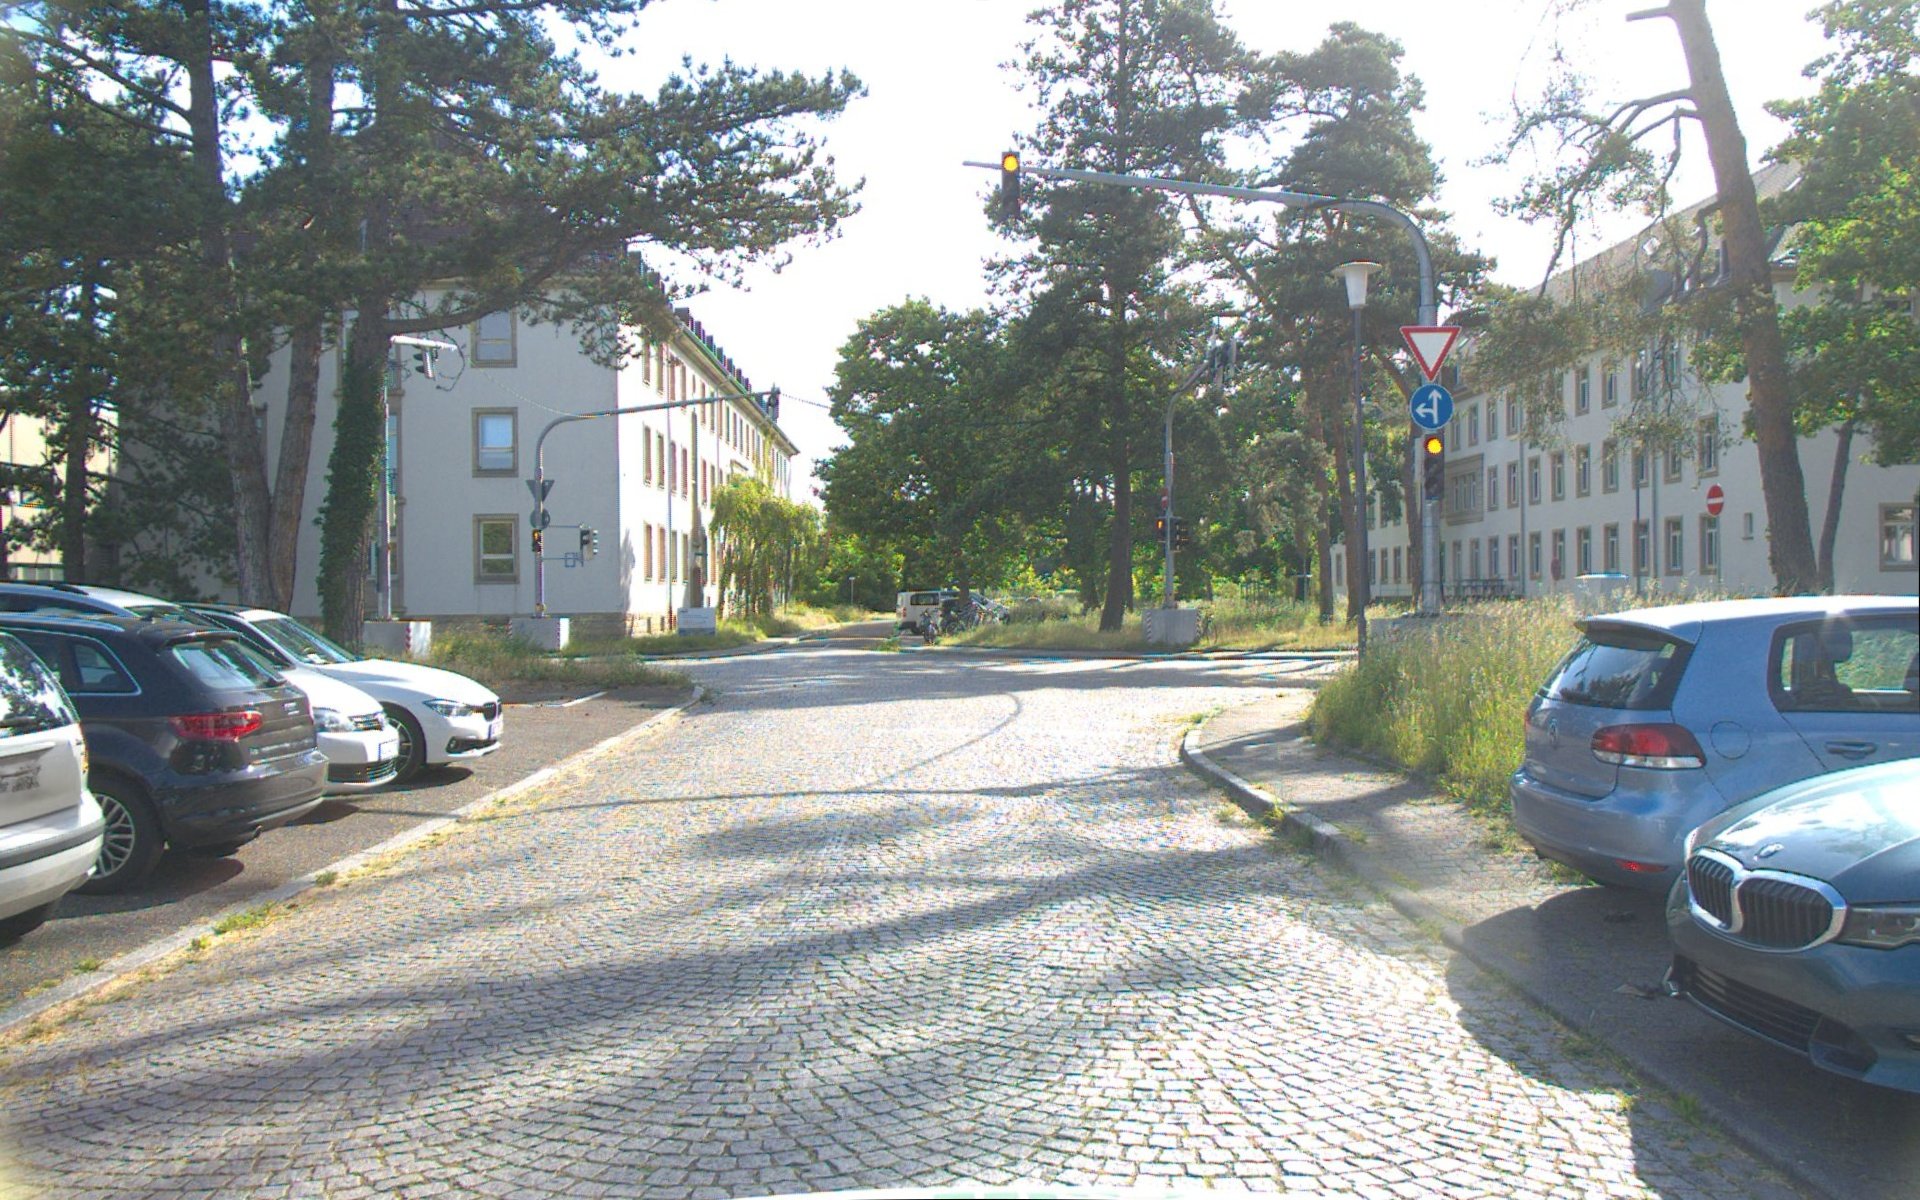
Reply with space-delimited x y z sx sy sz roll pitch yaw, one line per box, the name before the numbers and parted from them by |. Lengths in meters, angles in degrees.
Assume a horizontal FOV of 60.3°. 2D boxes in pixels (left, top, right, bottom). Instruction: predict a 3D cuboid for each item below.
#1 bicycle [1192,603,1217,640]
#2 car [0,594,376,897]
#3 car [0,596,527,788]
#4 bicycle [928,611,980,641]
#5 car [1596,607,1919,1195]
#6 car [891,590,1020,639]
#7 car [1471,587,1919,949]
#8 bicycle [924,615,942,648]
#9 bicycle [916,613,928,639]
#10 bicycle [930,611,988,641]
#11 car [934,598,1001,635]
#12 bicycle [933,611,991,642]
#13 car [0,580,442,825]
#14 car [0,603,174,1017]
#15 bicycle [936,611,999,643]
bicycle | 6.604 0.587 44.680 0.294 0.977 1.584 1 -1 -4
car | -5.579 0.731 9.345 3.908 1.506 1.802 2 0 -4
car | -6.207 0.776 14.689 4.248 1.494 1.829 2 0 -4
bicycle | -0.218 0.943 60.106 1.803 1.028 0.635 2 -1 -9
car | 4.518 0.710 5.084 4.467 1.440 1.636 -2 0 -1
car | -0.210 0.650 74.689 5.438 2.049 1.989 2 -1 -19
car | 4.599 0.679 7.858 3.803 1.440 1.636 -2 0 -1
bicycle | -0.875 1.006 52.880 0.458 1.028 1.584 1 -1 -4
bicycle | -1.514 1.039 66.264 0.409 1.028 1.483 1 -1 0
bicycle | -0.028 0.939 59.237 1.990 1.028 0.626 2 -1 -9
car | 0.318 0.719 71.125 2.728 1.492 1.669 2 -1 -6
bicycle | 0.061 0.932 58.356 1.967 1.028 0.631 2 -1 -9
car | -6.155 0.696 12.330 4.000 1.621 1.884 2 0 -4
car | -5.441 0.748 6.706 3.672 1.513 1.644 2 0 -4
bicycle | 0.255 0.919 56.647 2.070 1.028 0.620 2 -1 -9
